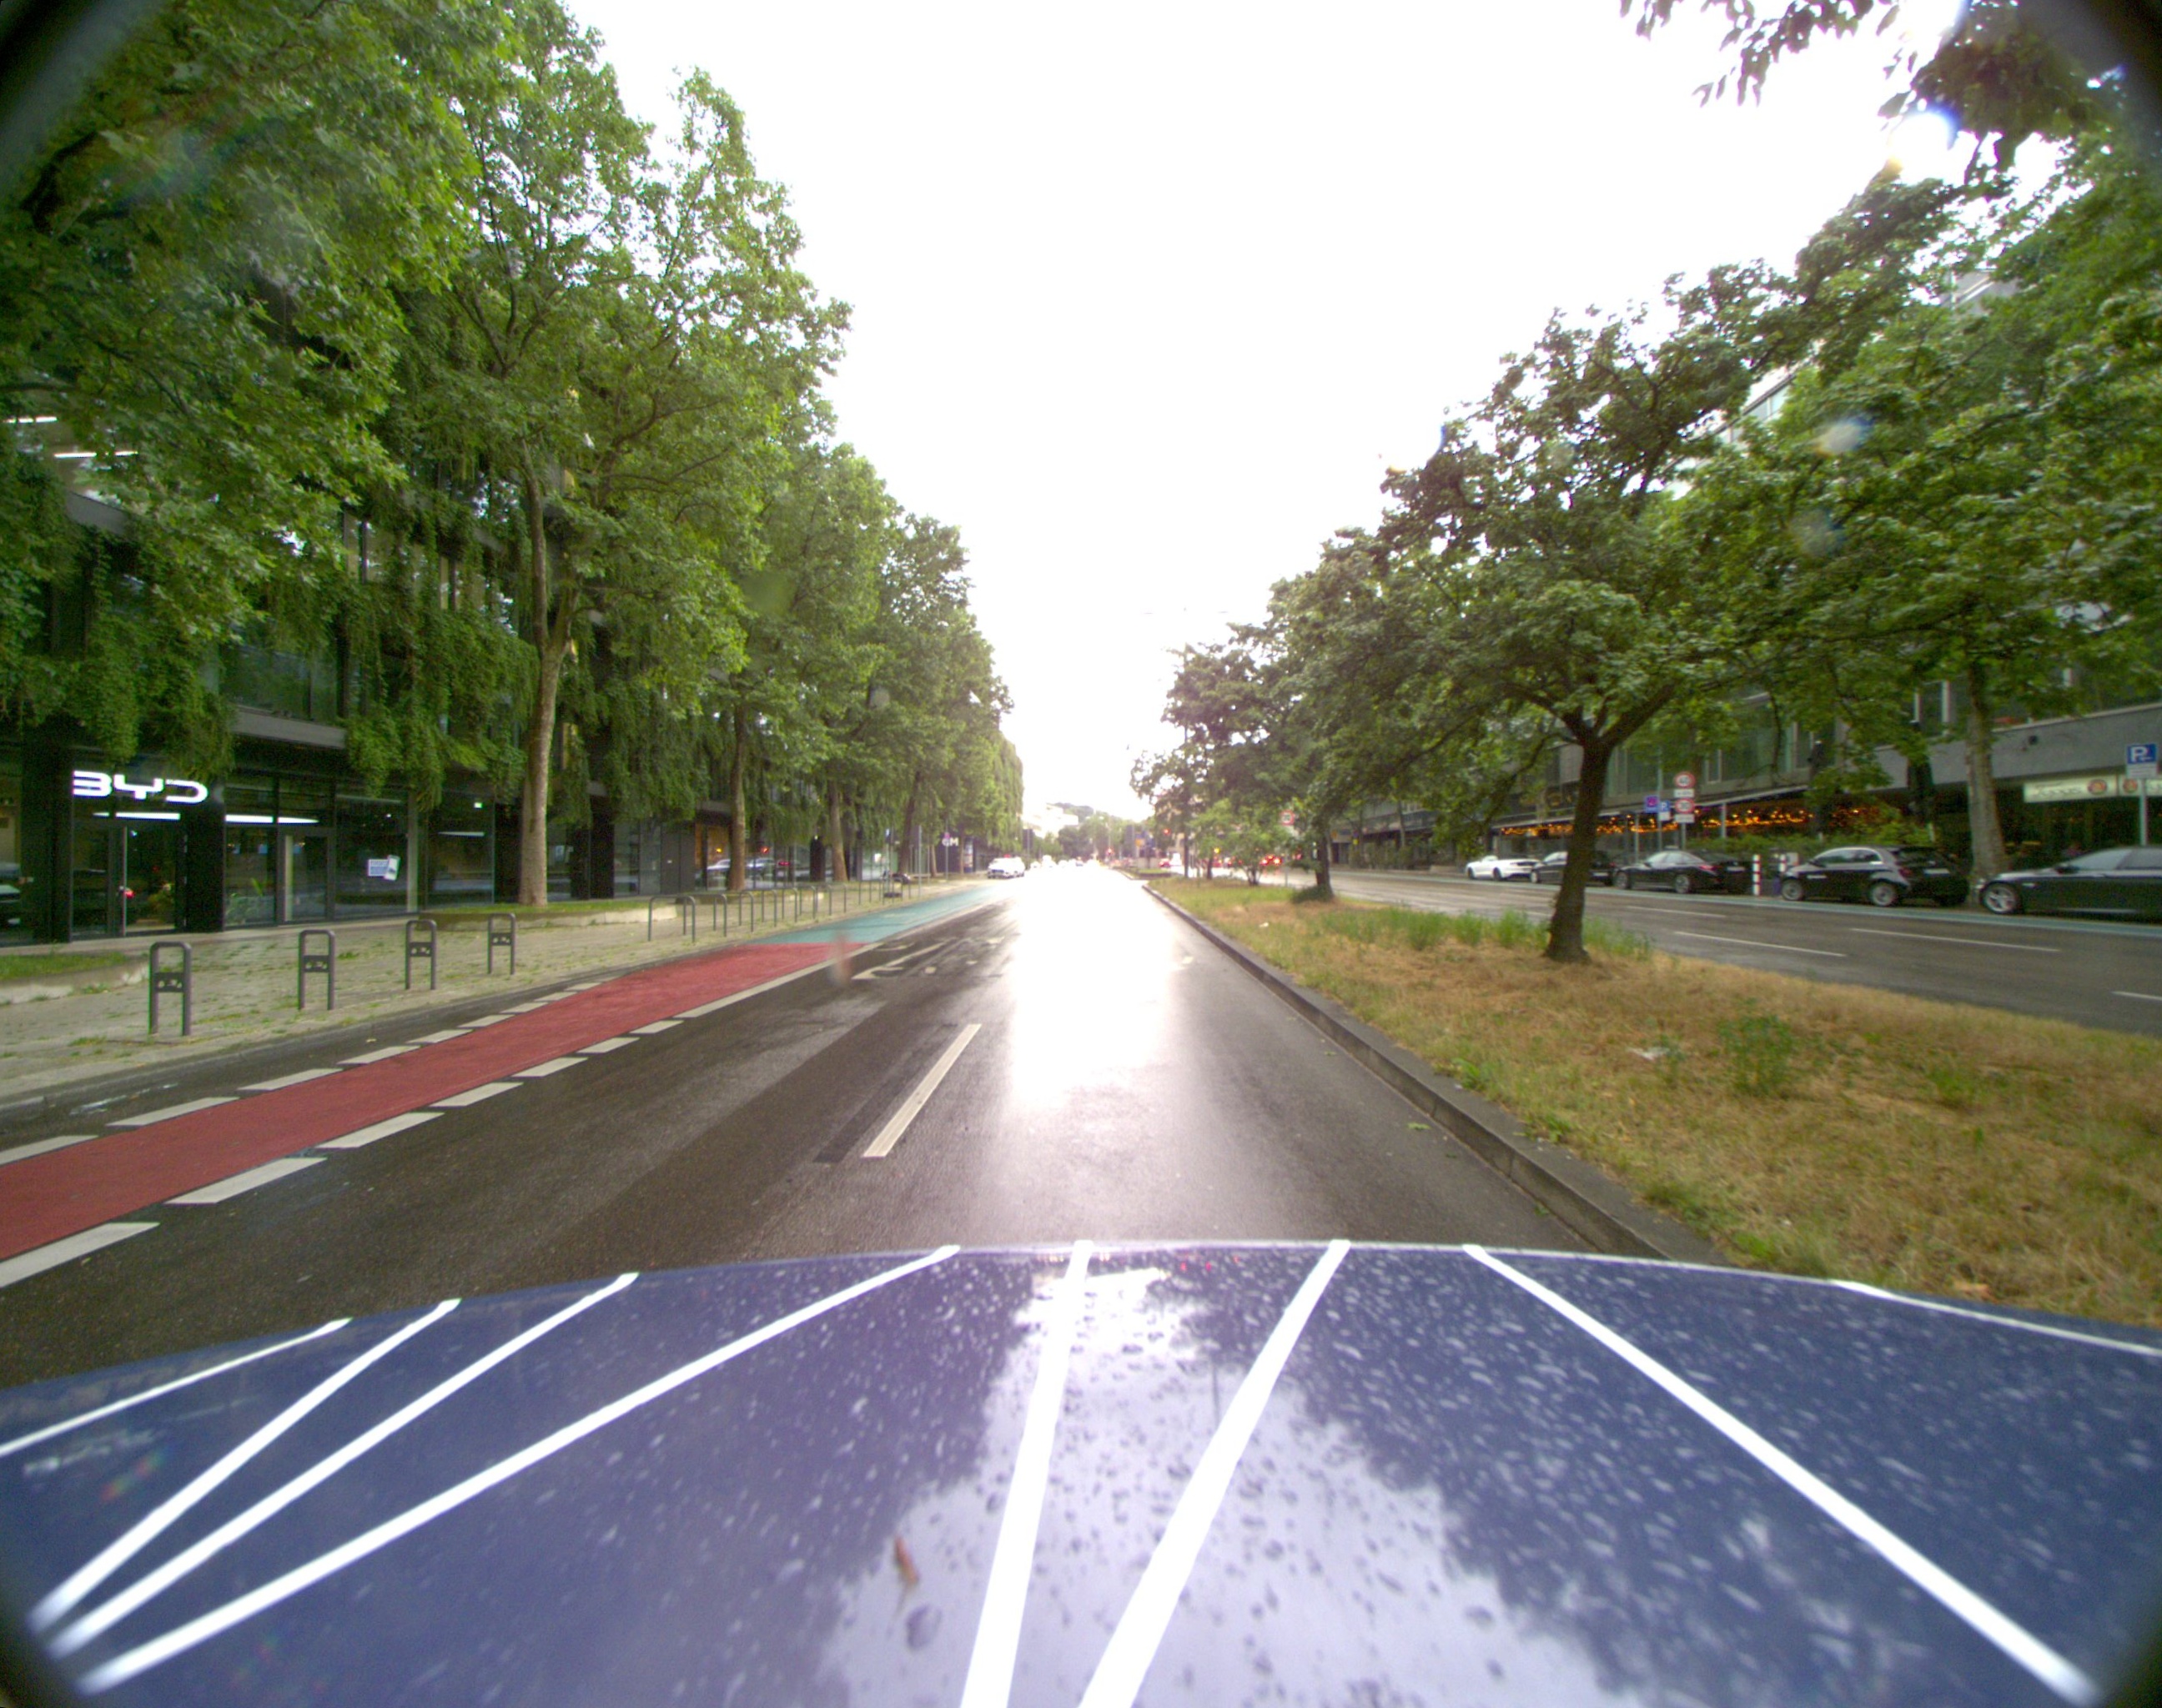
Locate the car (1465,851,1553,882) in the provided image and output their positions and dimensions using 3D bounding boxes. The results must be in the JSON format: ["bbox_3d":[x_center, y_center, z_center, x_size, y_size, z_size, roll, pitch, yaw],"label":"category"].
[{"bbox_3d":[20.740,0.554,37.029,1.881,1.318,4.392,-2,1,2],"label":"car"}]

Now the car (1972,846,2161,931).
[{"bbox_3d":[19.873,0.602,13.959,1.875,1.377,4.537,-2,1,5],"label":"car"}]

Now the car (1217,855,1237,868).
[{"bbox_3d":[18.675,0.921,97.468,1.780,1.565,3.728,-2,1,0],"label":"car"}]

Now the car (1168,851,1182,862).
[{"bbox_3d":[17.185,0.454,139.460,1.998,1.805,3.999,-2,1,0],"label":"car"}]

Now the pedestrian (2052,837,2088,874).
[{"bbox_3d":[27.741,0.027,21.310,0.464,1.010,0.424,-2,1,-1],"label":"pedestrian"}]

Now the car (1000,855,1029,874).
[{"bbox_3d":[-6.101,0.955,70.306,2.036,1.553,4.585,-2,1,2],"label":"car"}]

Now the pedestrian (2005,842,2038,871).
[{"bbox_3d":[27.931,0.078,22.570,0.440,0.845,0.433,-2,1,-1],"label":"pedestrian"}]

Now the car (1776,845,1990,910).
[{"bbox_3d":[20.049,0.533,19.231,1.875,1.414,3.400,-2,1,2],"label":"car"}]

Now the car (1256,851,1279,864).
[{"bbox_3d":[20.709,0.398,84.478,1.765,1.318,3.738,-2,1,2],"label":"car"}]

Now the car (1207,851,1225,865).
[{"bbox_3d":[19.391,0.536,109.001,1.938,1.776,3.955,-2,1,2],"label":"car"}]

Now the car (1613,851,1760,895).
[{"bbox_3d":[20.135,0.570,25.521,1.647,1.232,4.319,-2,1,3],"label":"car"}]

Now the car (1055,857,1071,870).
[{"bbox_3d":[-2.207,1.170,95.455,1.780,1.546,3.929,-2,1,1],"label":"car"}]

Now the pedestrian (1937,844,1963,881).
[{"bbox_3d":[27.722,0.269,24.239,0.446,1.179,0.466,-3,2,-33],"label":"pedestrian"}]

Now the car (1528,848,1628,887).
[{"bbox_3d":[20.452,0.502,31.477,1.750,1.445,3.788,-2,1,2],"label":"car"}]

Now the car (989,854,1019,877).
[{"bbox_3d":[-6.453,0.955,64.325,1.932,1.726,4.598,-2,1,0],"label":"car"}]

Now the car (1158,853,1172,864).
[{"bbox_3d":[12.377,0.665,112.086,1.678,1.381,3.527,-2,1,-2],"label":"car"}]

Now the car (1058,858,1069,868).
[{"bbox_3d":[-2.701,1.427,120.228,1.556,1.534,3.663,-2,1,1],"label":"car"}]
